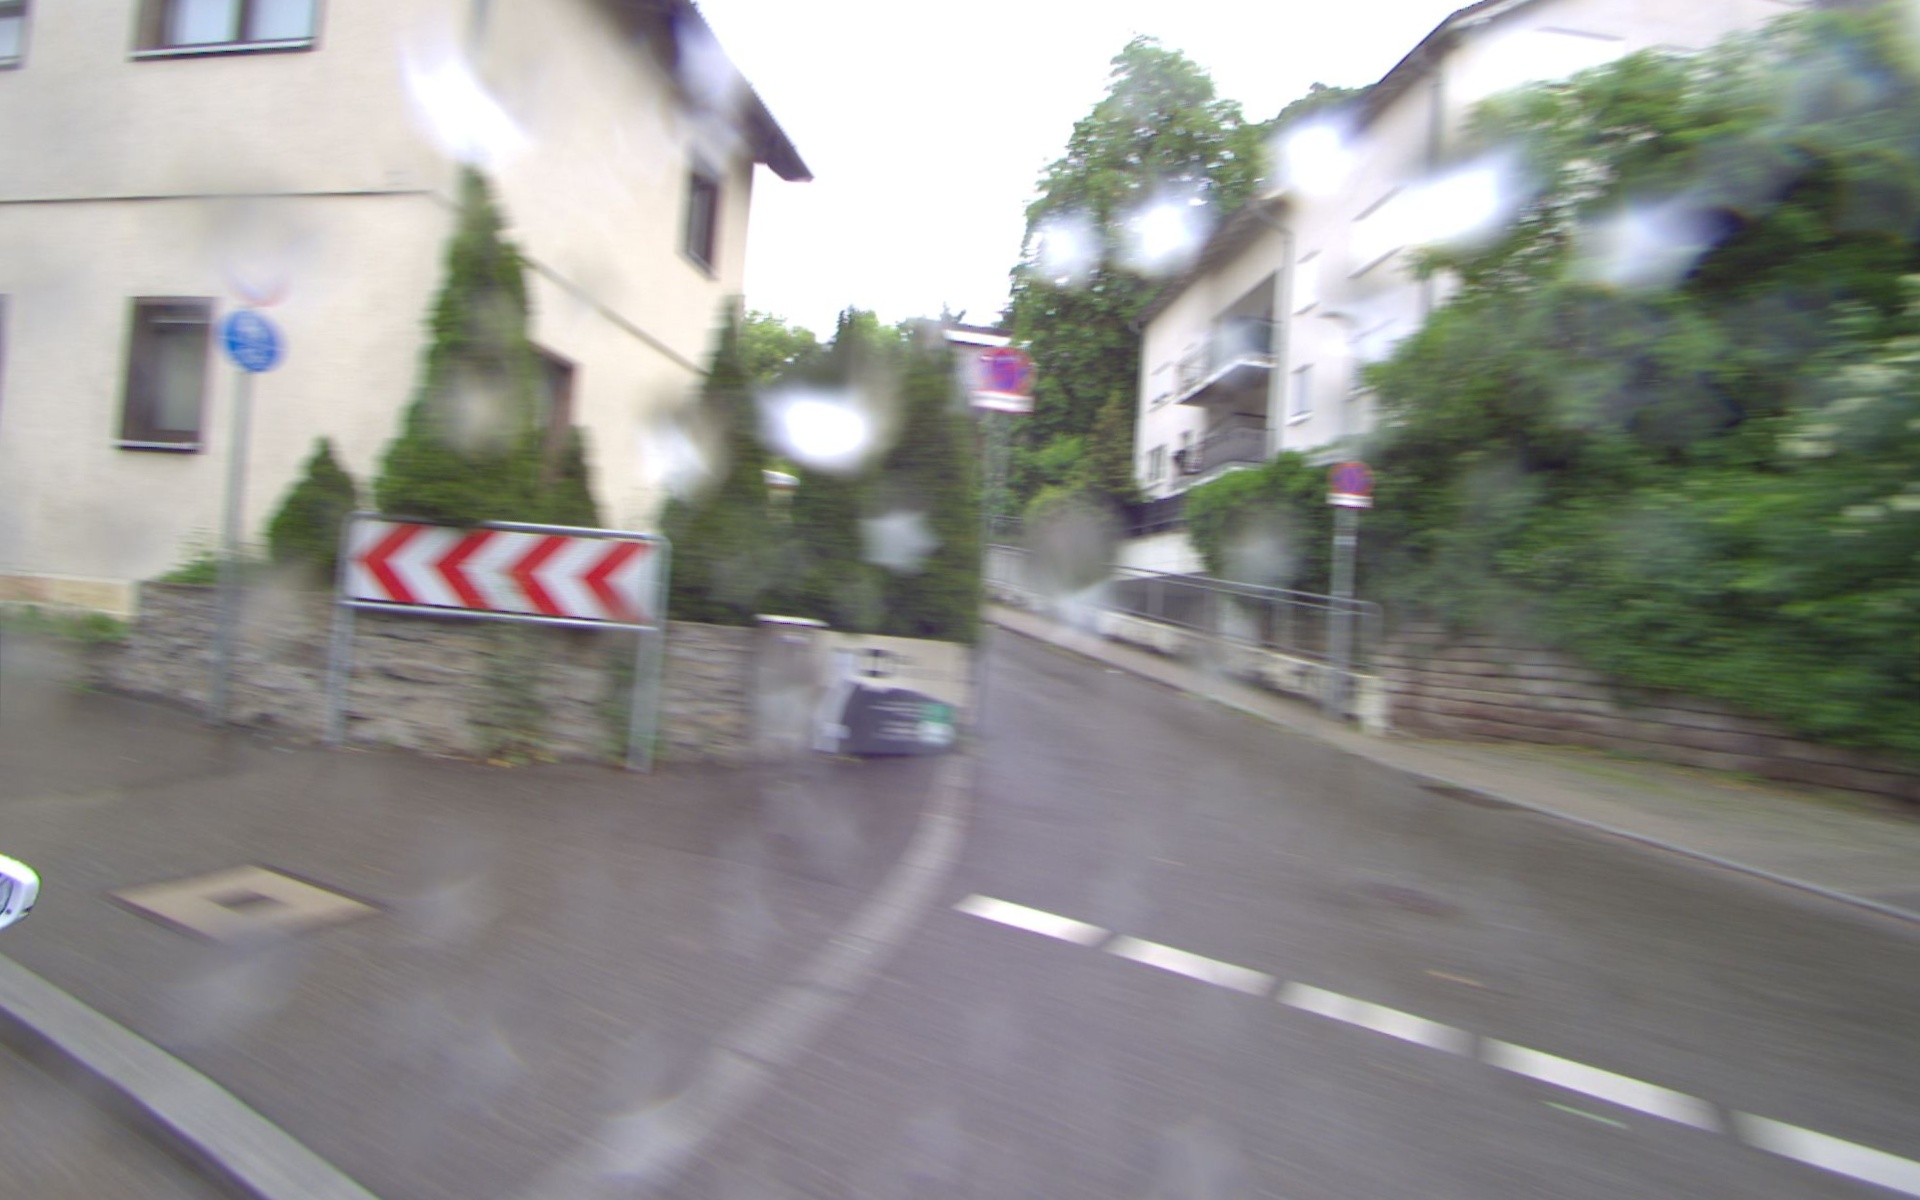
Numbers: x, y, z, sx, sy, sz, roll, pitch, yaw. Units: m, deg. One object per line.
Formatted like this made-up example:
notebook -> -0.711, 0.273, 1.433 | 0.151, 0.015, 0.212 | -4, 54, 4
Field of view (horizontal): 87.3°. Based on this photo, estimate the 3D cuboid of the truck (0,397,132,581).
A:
truck -> -15.951, -1.899, 14.023 | 2.100, 2.736, 6.981 | 9, 1, 8

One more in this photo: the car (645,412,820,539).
car -> -6.691, -3.629, 30.426 | 1.964, 2.681, 5.708 | 5, -2, 24
